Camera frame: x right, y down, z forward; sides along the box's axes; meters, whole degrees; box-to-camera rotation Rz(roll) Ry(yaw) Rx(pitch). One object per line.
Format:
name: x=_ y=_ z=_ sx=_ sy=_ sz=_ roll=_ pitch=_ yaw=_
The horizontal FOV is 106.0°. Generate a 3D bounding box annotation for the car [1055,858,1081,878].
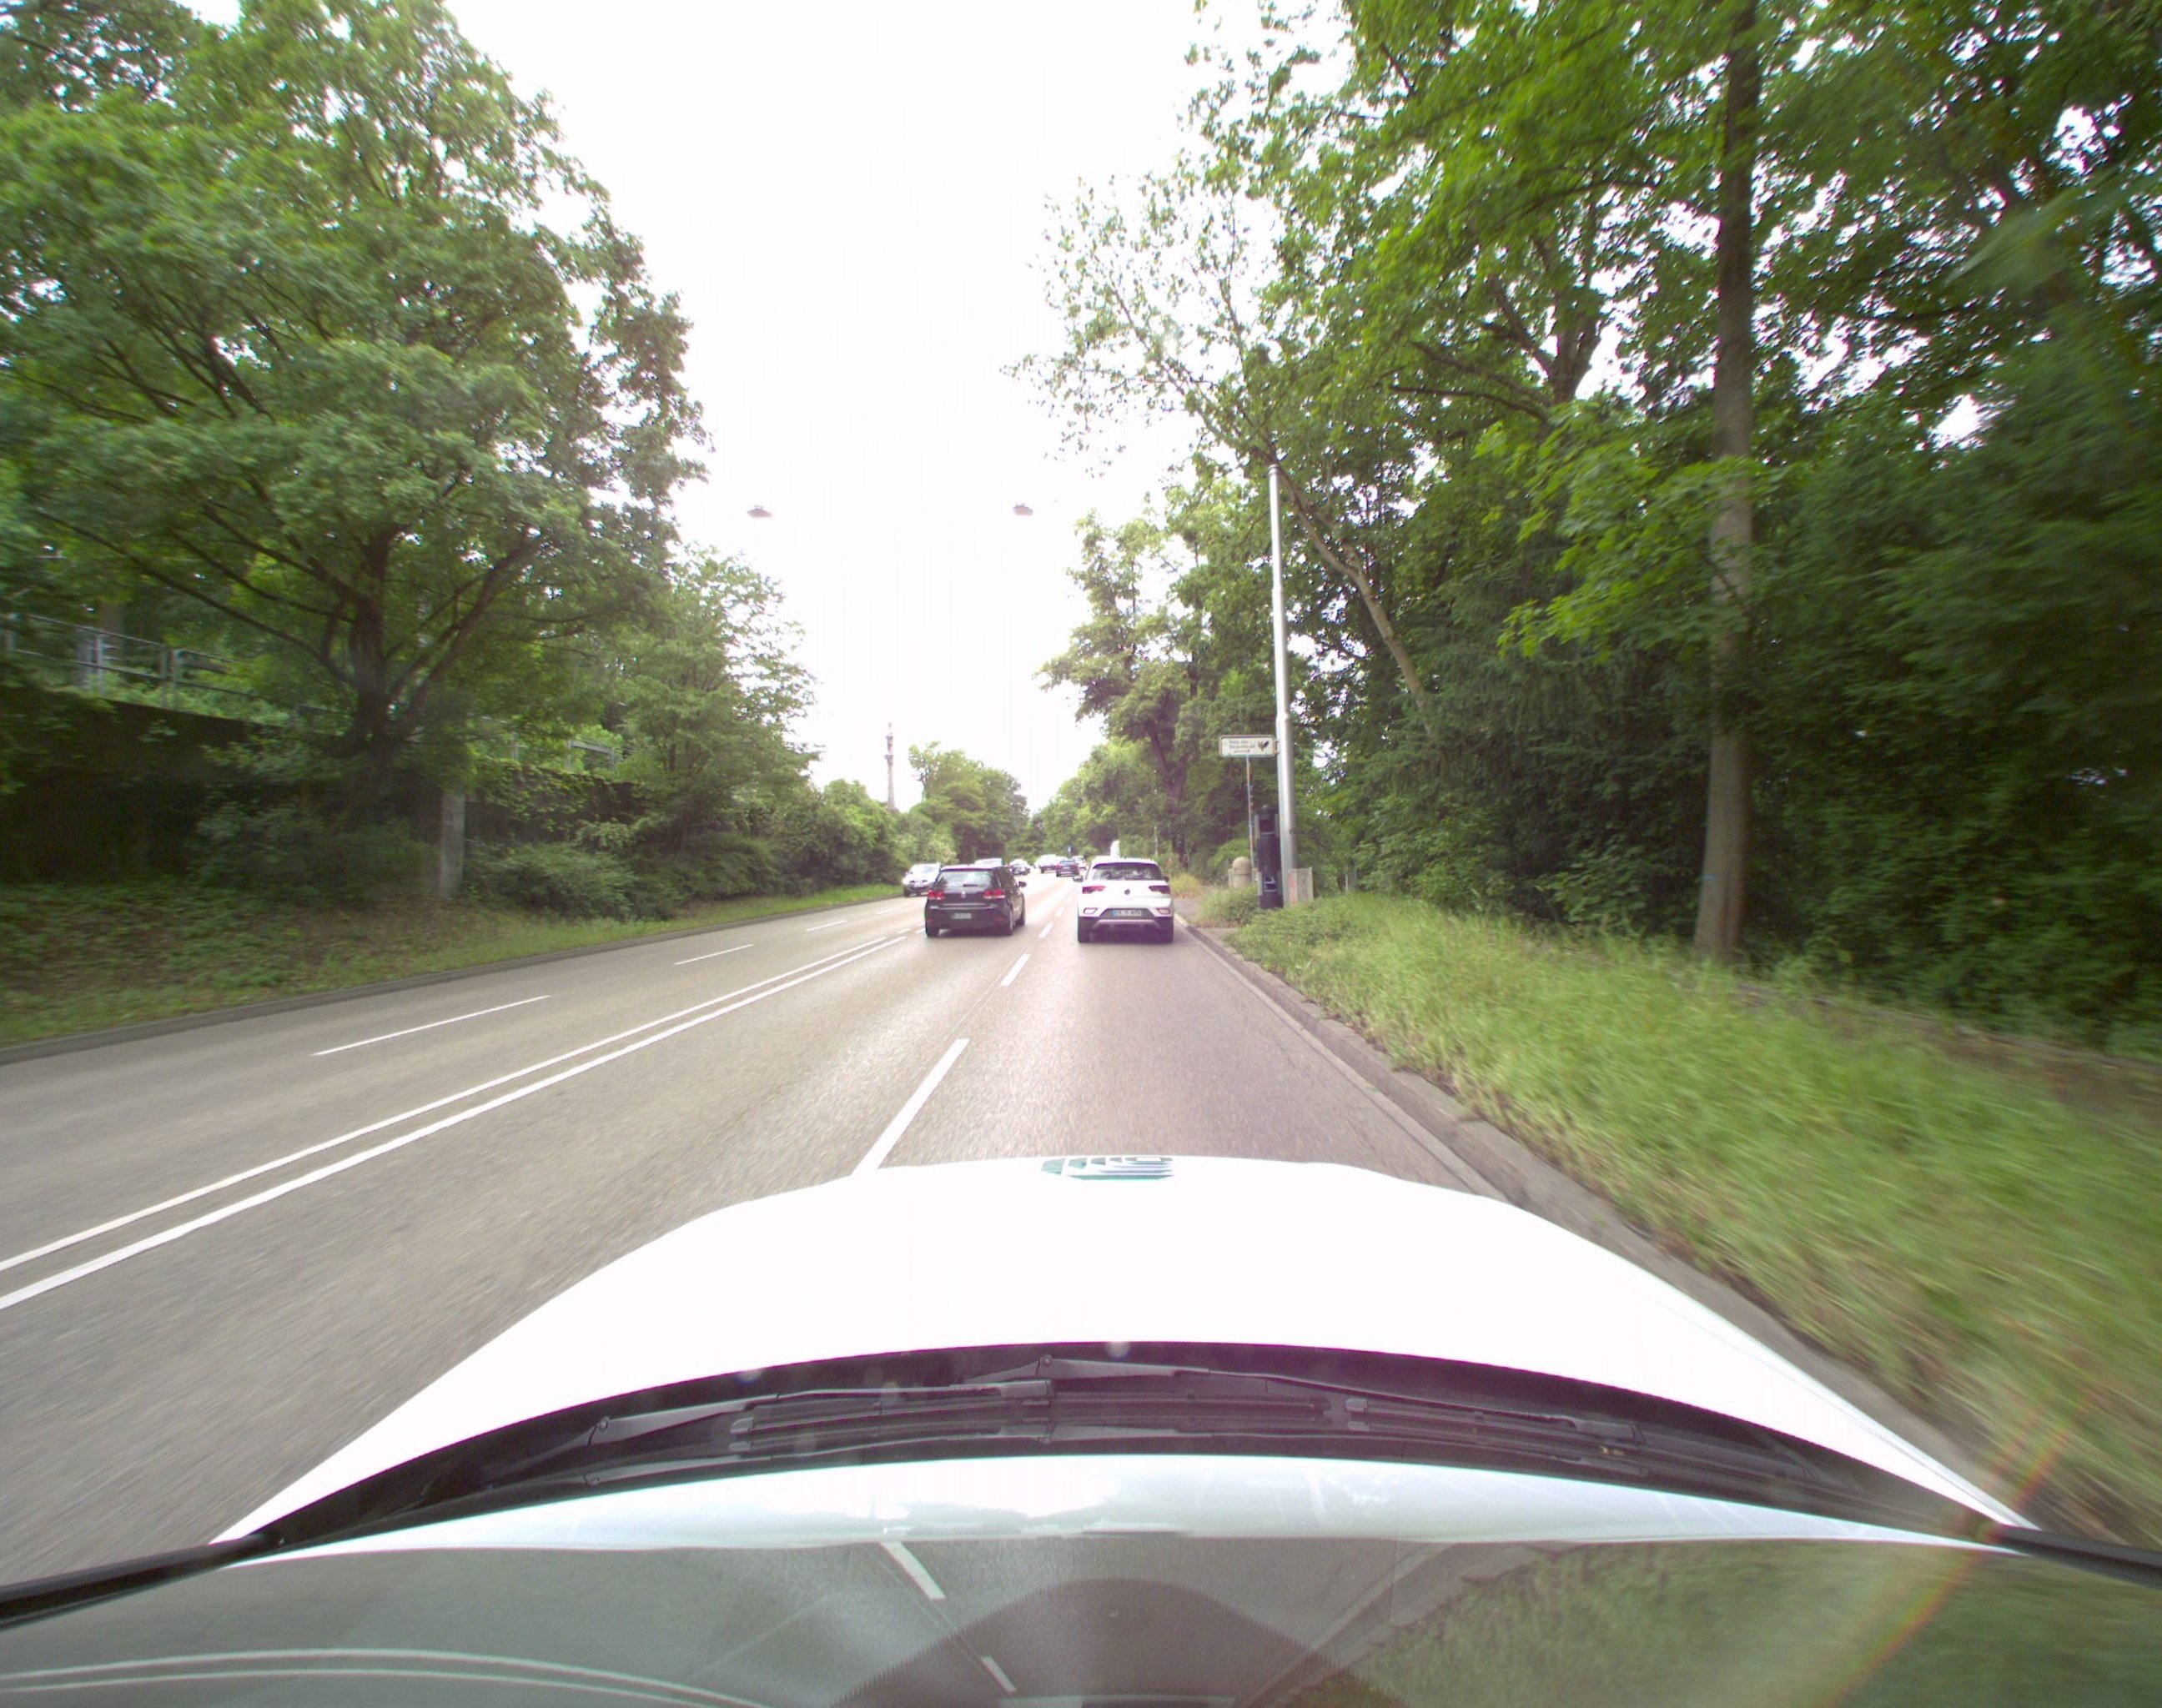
car: x=-1.066 y=1.190 z=68.419 sx=1.986 sy=1.592 sz=4.001 roll=0 pitch=-1 yaw=1

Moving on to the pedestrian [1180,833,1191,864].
pedestrian: x=5.827 y=-0.297 z=45.364 sx=0.518 sy=1.753 sz=0.524 roll=0 pitch=-1 yaw=-2

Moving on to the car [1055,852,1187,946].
car: x=0.642 y=0.800 z=16.150 sx=1.998 sy=1.596 sz=3.991 roll=0 pitch=-1 yaw=-6

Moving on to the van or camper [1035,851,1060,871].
van or camper: x=-3.780 y=0.794 z=90.908 sx=1.994 sy=2.013 sz=5.350 roll=-5 pitch=-1 yaw=-10

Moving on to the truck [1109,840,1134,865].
truck: x=5.246 y=-0.109 z=107.333 sx=2.477 sy=3.182 sz=7.218 roll=0 pitch=-1 yaw=-4

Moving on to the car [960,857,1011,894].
car: x=-4.785 y=1.092 z=41.542 sx=1.803 sy=1.662 sz=4.831 roll=-3 pitch=-2 yaw=2

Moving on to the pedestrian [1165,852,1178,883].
pedestrian: x=5.021 y=0.760 z=45.236 sx=0.607 sy=1.698 sz=0.548 roll=0 pitch=-1 yaw=-2

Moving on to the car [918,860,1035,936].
car: x=-2.137 y=0.873 z=17.761 sx=1.942 sy=1.466 sz=4.001 roll=0 pitch=-1 yaw=1

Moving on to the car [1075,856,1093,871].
car: x=0.334 y=1.002 z=87.954 sx=1.815 sy=1.623 sz=4.001 roll=0 pitch=-1 yaw=1

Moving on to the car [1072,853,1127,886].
car: x=1.028 y=0.895 z=47.873 sx=1.858 sy=1.702 sz=3.973 roll=-4 pitch=1 yaw=-20

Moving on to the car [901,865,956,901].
car: x=-7.689 y=1.433 z=41.351 sx=1.784 sy=1.612 sz=4.191 roll=-3 pitch=-1 yaw=2
